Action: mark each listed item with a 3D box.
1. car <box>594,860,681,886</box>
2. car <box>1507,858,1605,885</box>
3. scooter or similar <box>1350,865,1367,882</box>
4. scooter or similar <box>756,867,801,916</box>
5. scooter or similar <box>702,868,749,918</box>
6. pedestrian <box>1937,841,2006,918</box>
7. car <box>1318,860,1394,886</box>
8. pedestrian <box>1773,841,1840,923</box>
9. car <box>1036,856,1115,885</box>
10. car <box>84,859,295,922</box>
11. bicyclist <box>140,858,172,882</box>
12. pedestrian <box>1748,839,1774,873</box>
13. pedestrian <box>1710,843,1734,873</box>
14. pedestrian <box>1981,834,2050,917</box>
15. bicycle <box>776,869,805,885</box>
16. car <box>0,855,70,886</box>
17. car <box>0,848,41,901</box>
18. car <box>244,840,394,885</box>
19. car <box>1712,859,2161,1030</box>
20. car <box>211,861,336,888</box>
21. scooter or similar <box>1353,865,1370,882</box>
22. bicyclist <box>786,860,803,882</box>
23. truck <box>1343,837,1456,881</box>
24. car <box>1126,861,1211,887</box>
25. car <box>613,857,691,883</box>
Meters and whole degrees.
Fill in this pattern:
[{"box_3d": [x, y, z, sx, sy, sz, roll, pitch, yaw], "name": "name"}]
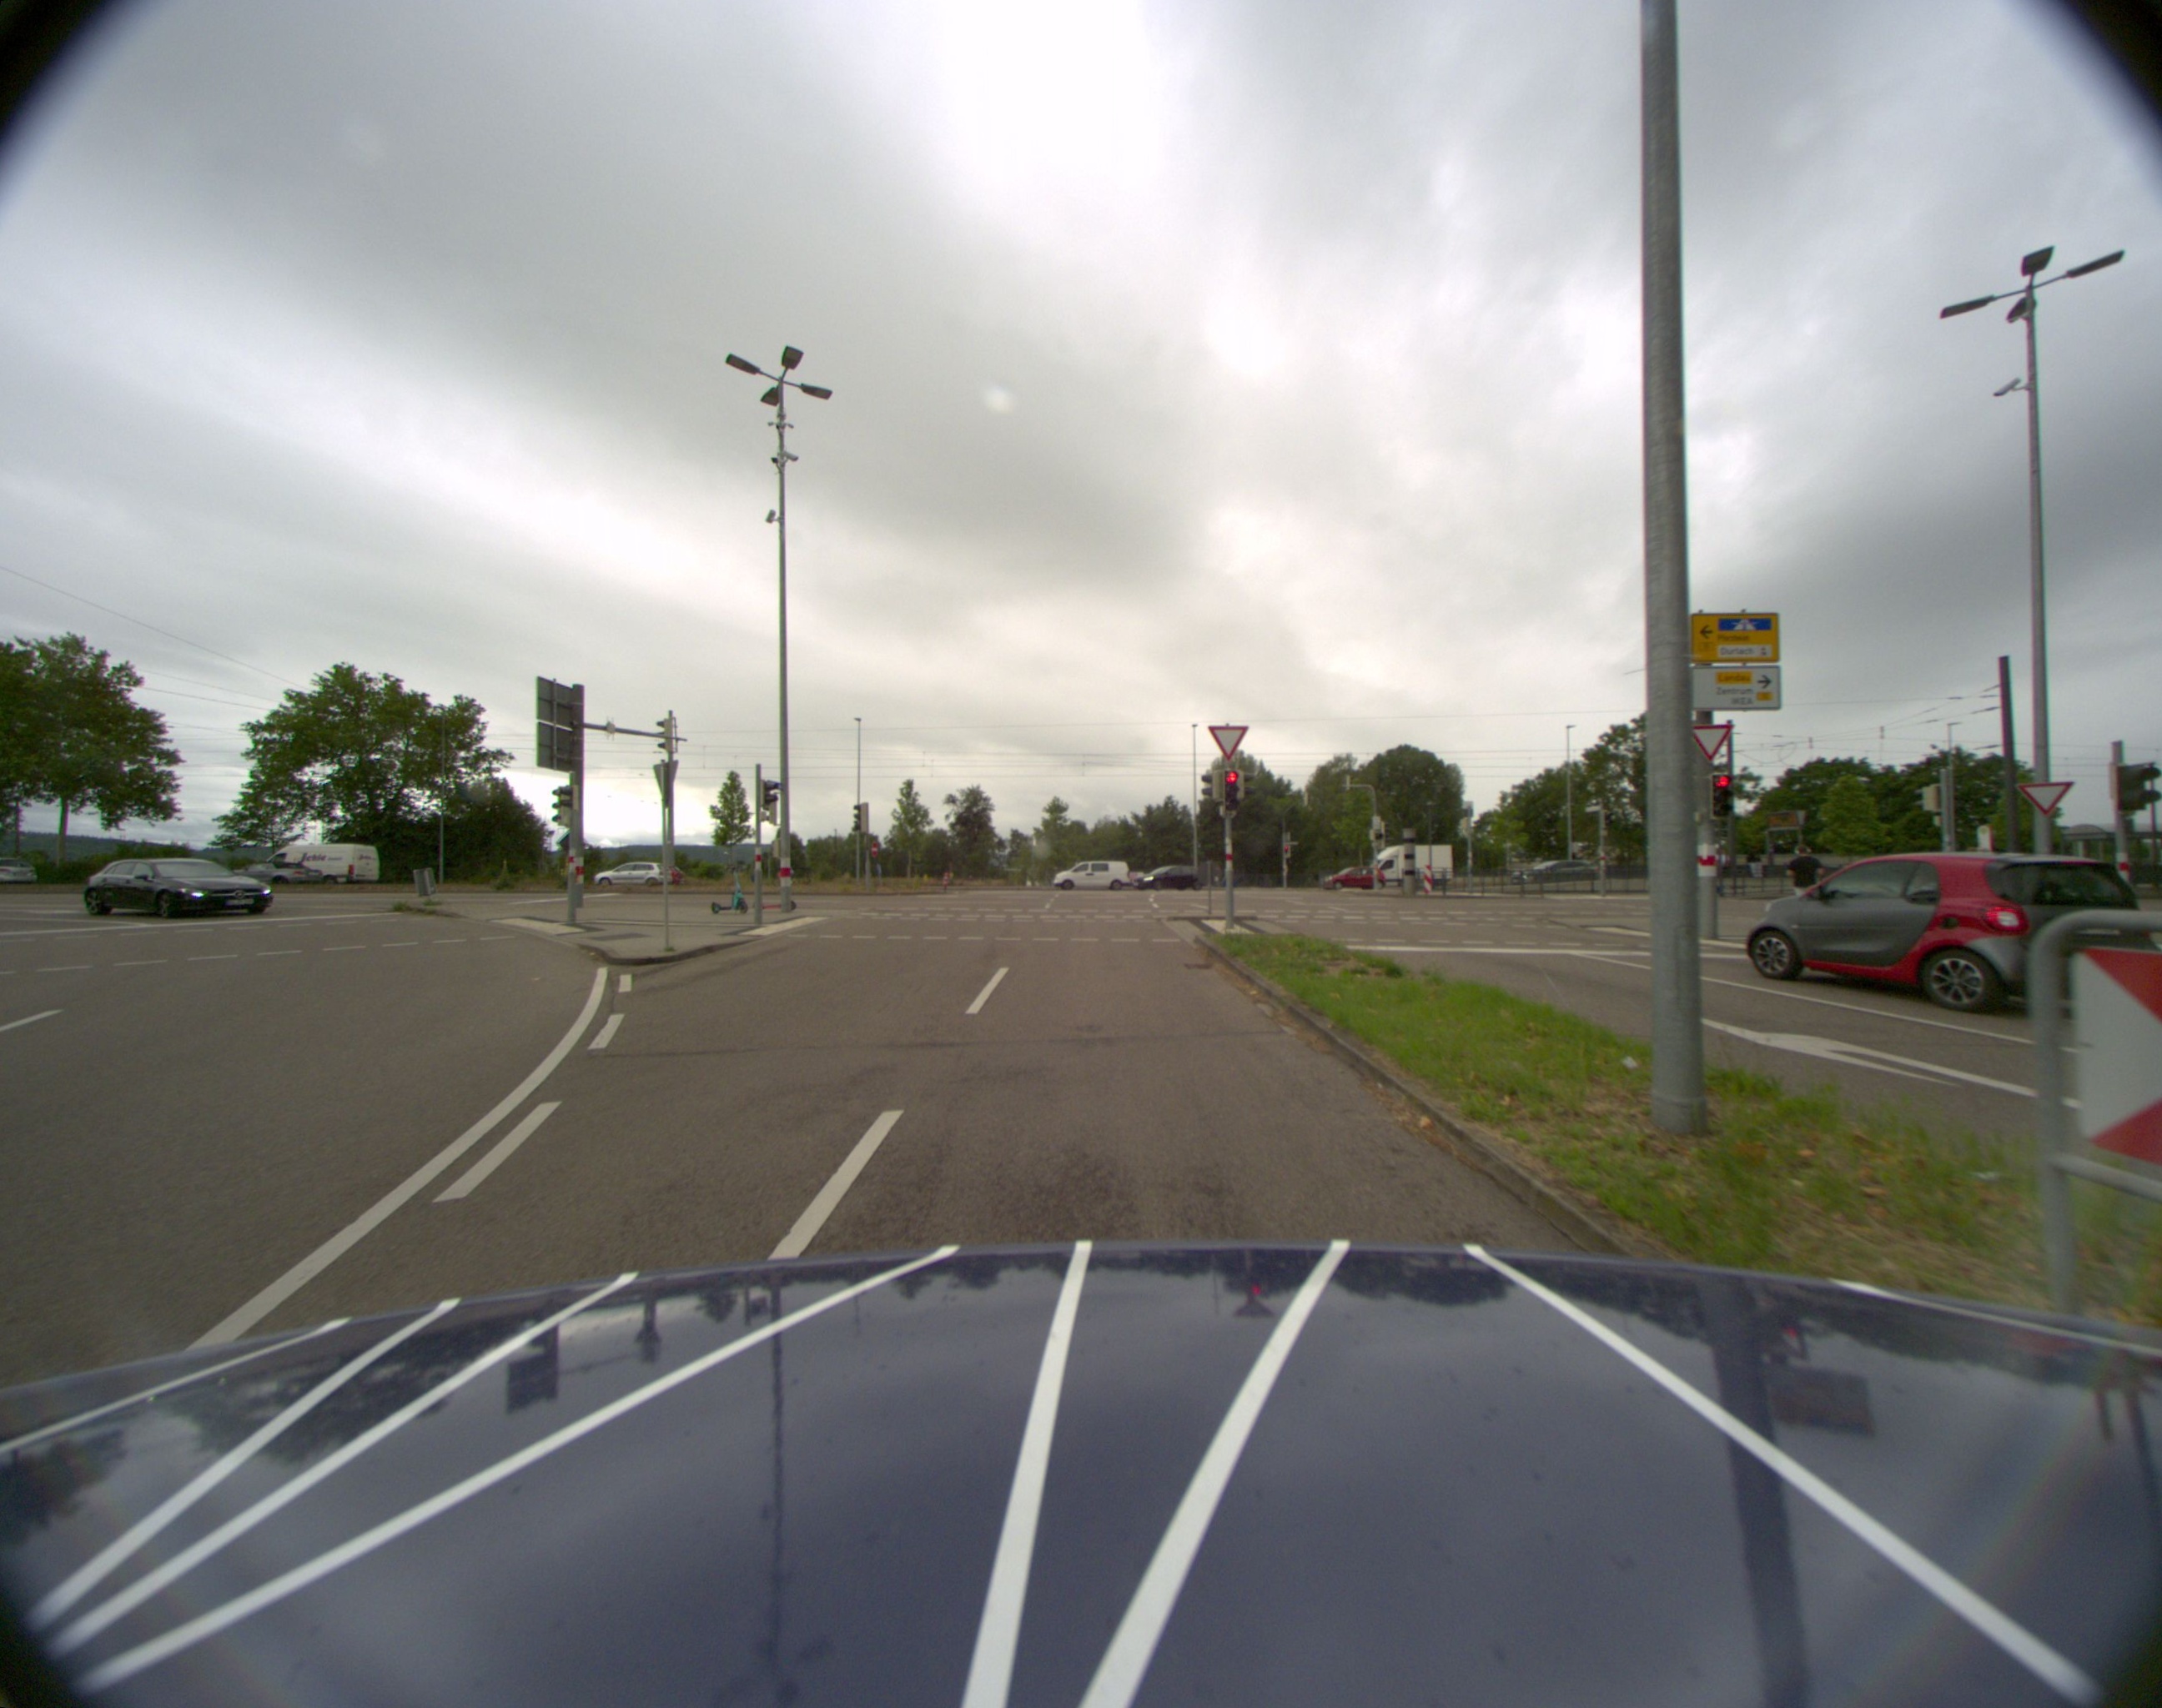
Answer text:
[{"box_3d": [-24.983, 1.070, 42.901, 3.850, 1.410, 1.682, 0, -2, -9], "name": "car"}, {"box_3d": [26.523, 0.977, 42.501, 4.369, 1.400, 1.678, -1, -2, 0], "name": "car"}, {"box_3d": [20.713, 1.450, 56.715, 1.153, 1.236, 0.478, 0, 0, 7], "name": "scooter or similar"}, {"box_3d": [-7.986, 0.971, 20.042, 1.016, 1.249, 0.465, 0, 1, 15], "name": "scooter or similar"}, {"box_3d": [-9.168, 0.987, 19.604, 1.113, 1.249, 0.321, 0, 2, 15], "name": "scooter or similar"}, {"box_3d": [20.079, 0.560, 17.147, 0.675, 1.702, 0.766, -1, 1, 5], "name": "pedestrian"}, {"box_3d": [17.531, 1.225, 48.580, 4.245, 1.641, 1.785, 0, -2, 0], "name": "car"}, {"box_3d": [16.187, 0.621, 16.973, 0.664, 1.756, 0.686, 2, 4, -2], "name": "pedestrian"}, {"box_3d": [-0.424, 1.114, 50.883, 5.119, 1.868, 2.100, 0, -2, -6], "name": "car"}, {"box_3d": [-23.067, 0.890, 19.712, 4.199, 1.455, 1.839, 0, 1, 14], "name": "car"}, {"box_3d": [-57.647, 0.988, 47.362, 0.999, 1.470, 0.819, 1, 0, -2], "name": "bicyclist"}, {"box_3d": [35.968, 0.111, 40.198, 0.586, 1.731, 0.788, -1, -2, 3], "name": "pedestrian"}, {"box_3d": [33.711, 0.214, 39.975, 0.632, 1.550, 0.711, -1, -2, 3], "name": "pedestrian"}, {"box_3d": [20.846, 0.461, 16.970, 0.674, 1.787, 0.767, 0, 2, 23], "name": "pedestrian"}, {"box_3d": [-19.668, 1.542, 51.463, 1.709, 1.040, 0.548, 1, 2, -10], "name": "bicycle"}, {"box_3d": [-55.155, 0.841, 38.891, 4.199, 1.542, 1.861, 0, -2, -2], "name": "car"}, {"box_3d": [-37.187, 0.708, 24.690, 3.997, 1.718, 2.000, -1, 0, 0], "name": "car"}, {"box_3d": [-44.983, 0.527, 45.018, 5.897, 2.609, 2.665, 0, -2, -4], "name": "car"}, {"box_3d": [8.987, 0.801, 8.248, 1.606, 1.494, 3.209, 0, 0, 0], "name": "car"}, {"box_3d": [-43.008, 1.099, 40.569, 4.343, 1.382, 1.876, 0, -2, -6], "name": "car"}, {"box_3d": [21.096, 1.461, 57.155, 1.153, 1.236, 0.391, 0, 1, 8], "name": "scooter or similar"}, {"box_3d": [-19.412, 1.139, 51.442, 0.968, 1.445, 0.691, 1, 2, -10], "name": "bicyclist"}, {"box_3d": [21.710, 0.409, 52.023, 6.539, 2.905, 2.829, 0, -2, 0], "name": "truck"}, {"box_3d": [4.929, 1.142, 42.888, 4.348, 1.382, 1.997, 1, -2, -21], "name": "car"}, {"box_3d": [-25.862, 0.988, 45.938, 3.772, 1.551, 1.655, 0, -2, -12], "name": "car"}]
